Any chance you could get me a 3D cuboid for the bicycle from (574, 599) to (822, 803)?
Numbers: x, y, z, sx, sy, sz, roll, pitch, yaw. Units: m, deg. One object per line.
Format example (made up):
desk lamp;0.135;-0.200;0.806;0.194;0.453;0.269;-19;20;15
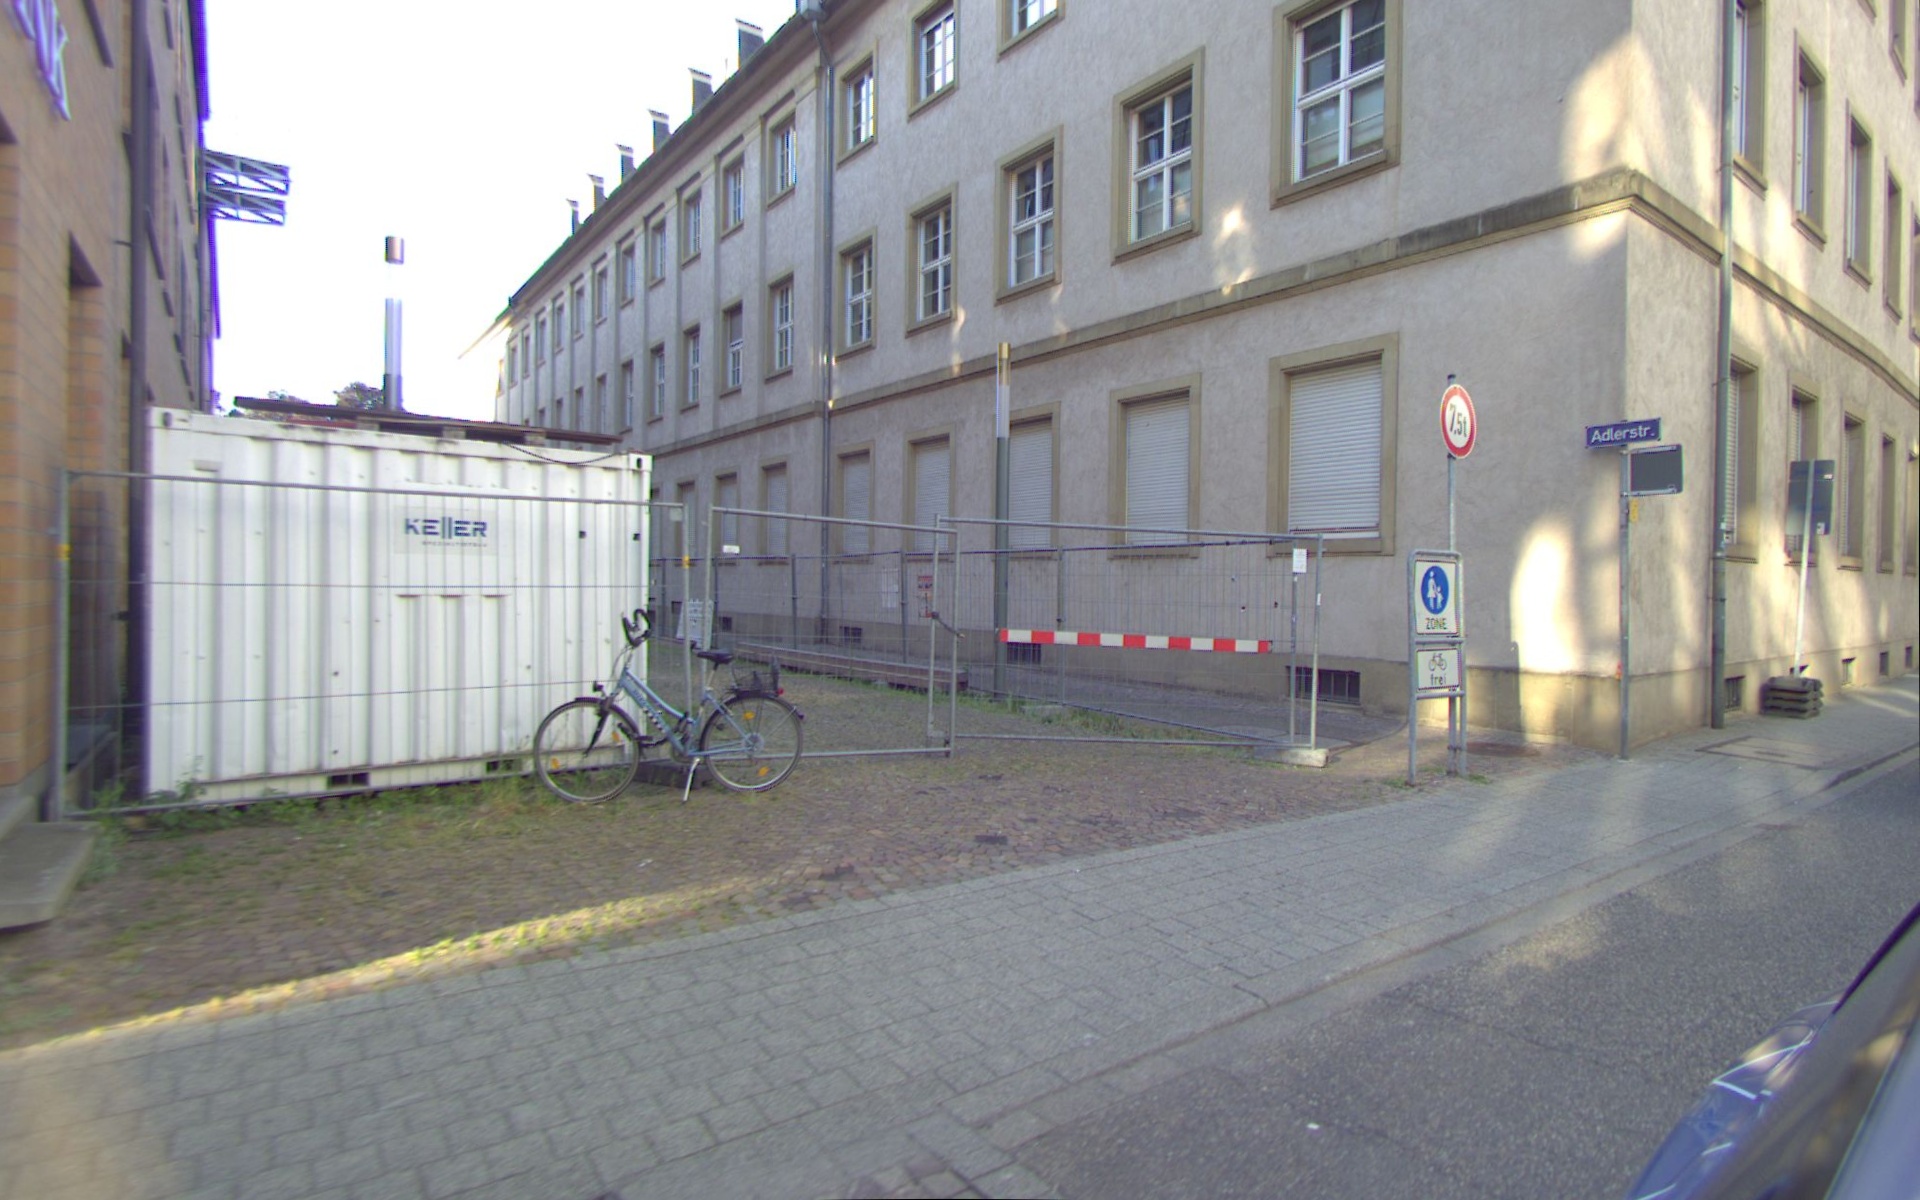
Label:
bicycle;-1.724;0.636;6.727;1.549;1.265;0.321;0;1;-19
